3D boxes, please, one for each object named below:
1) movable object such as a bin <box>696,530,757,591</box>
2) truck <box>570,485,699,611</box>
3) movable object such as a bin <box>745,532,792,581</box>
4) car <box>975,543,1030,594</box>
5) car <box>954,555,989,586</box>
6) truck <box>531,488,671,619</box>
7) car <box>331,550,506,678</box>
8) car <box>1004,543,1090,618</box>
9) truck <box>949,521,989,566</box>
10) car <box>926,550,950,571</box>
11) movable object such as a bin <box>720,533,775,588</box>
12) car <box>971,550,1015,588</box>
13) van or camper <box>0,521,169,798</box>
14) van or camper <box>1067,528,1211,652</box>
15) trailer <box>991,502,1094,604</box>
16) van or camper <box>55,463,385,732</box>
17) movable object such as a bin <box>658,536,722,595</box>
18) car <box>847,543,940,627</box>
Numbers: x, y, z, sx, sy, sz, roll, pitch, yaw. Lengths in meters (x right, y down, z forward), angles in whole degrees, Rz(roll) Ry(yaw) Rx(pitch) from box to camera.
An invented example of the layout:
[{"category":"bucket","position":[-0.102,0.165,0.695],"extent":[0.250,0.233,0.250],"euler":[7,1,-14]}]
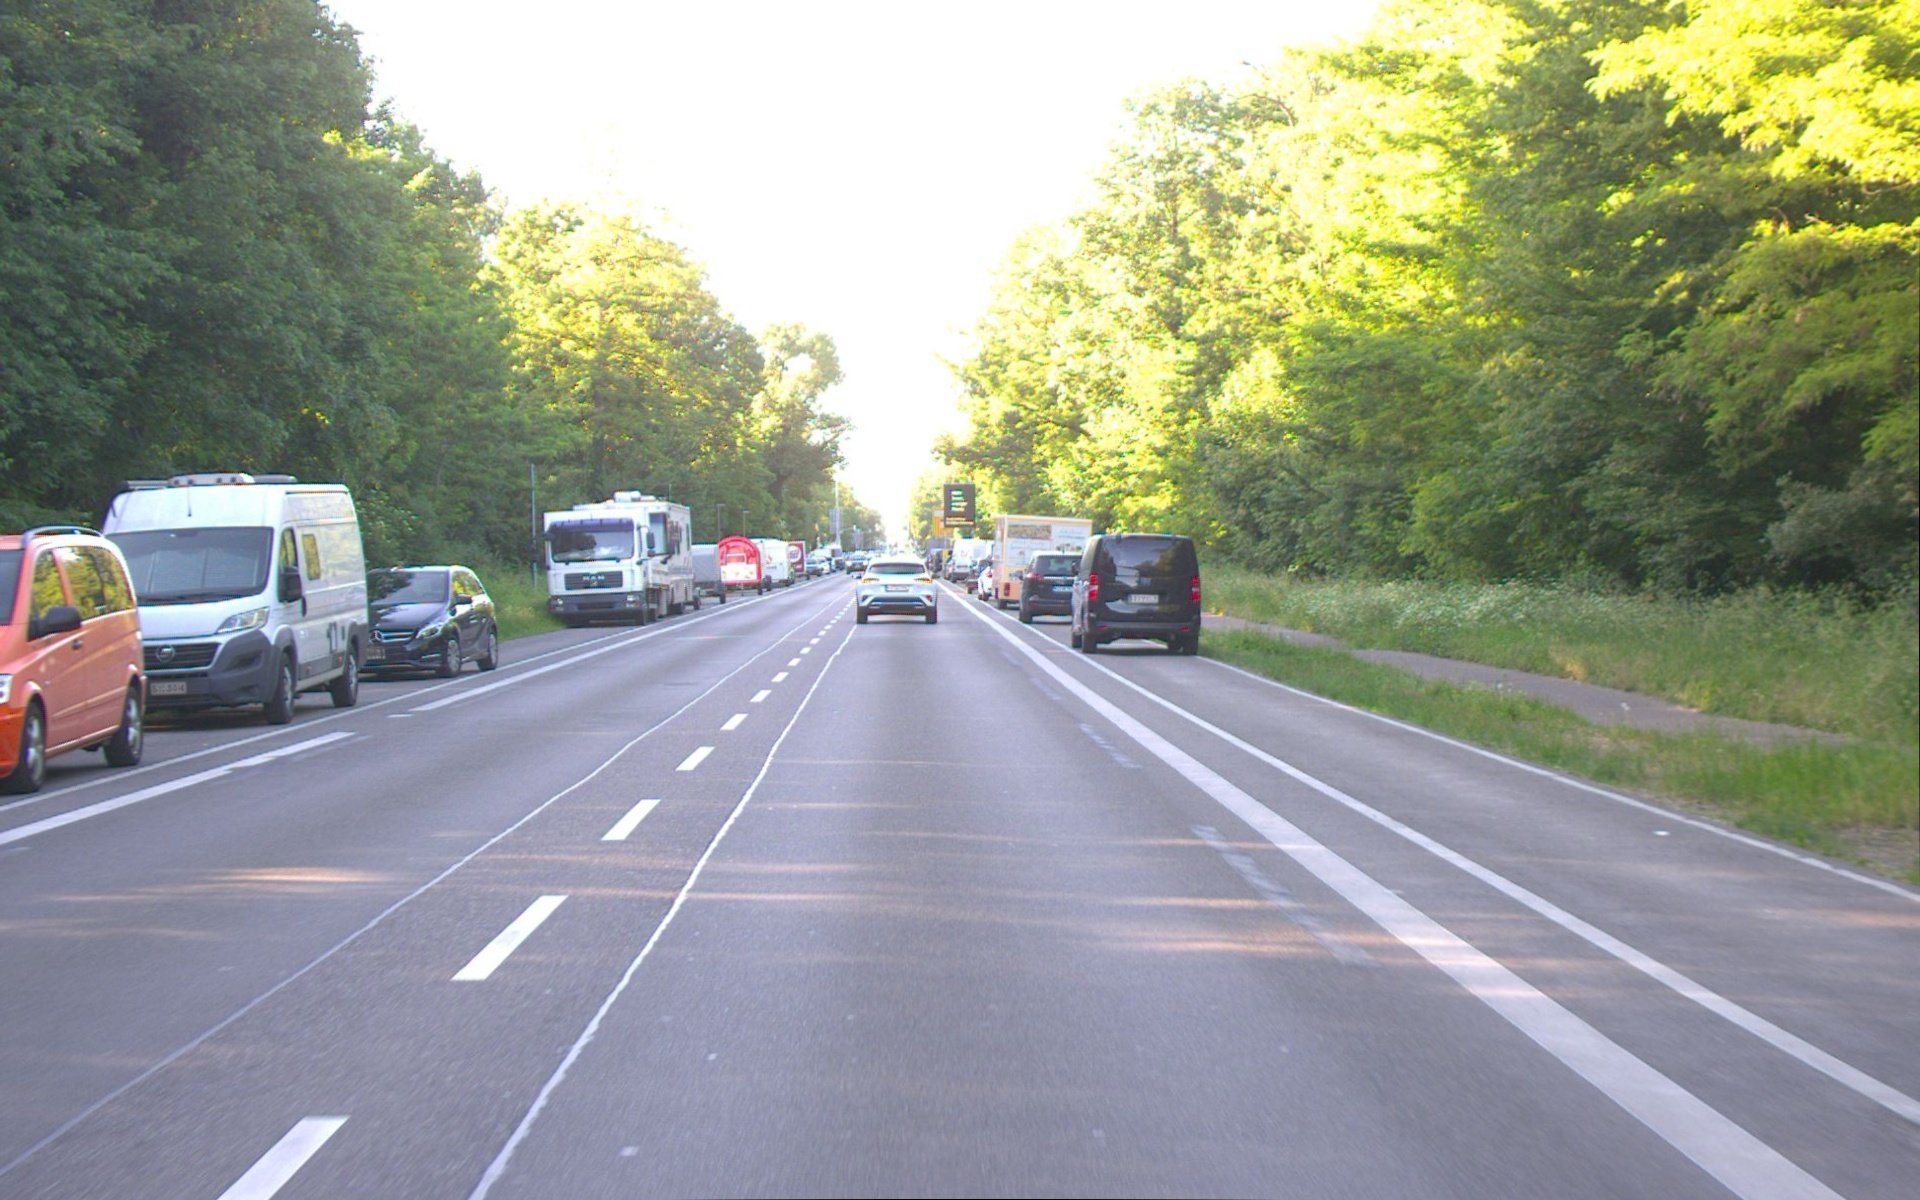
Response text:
[{"category":"movable object such as a bin","position":[-9.793,-1.677,144.335],"extent":[2.322,2.493,4.000],"euler":[0,1,-1]},{"category":"truck","position":[-9.023,-1.465,96.465],"extent":[2.707,3.336,10.924],"euler":[0,1,-1]},{"category":"movable object such as a bin","position":[-10.095,-2.300,181.277],"extent":[2.322,2.493,4.000],"euler":[0,1,-1]},{"category":"car","position":[1.438,-1.081,117.122],"extent":[1.732,1.678,4.000],"euler":[0,1,-1]},{"category":"car","position":[0.546,-1.433,168.116],"extent":[1.656,1.473,3.754],"euler":[0,1,-1]},{"category":"truck","position":[-8.829,-1.157,85.269],"extent":[2.707,3.083,7.989],"euler":[0,1,-1]},{"category":"car","position":[-7.620,0.155,48.708],"extent":[1.781,1.678,4.378],"euler":[-2,1,-1]},{"category":"car","position":[1.976,-0.467,78.999],"extent":[1.841,1.656,4.000],"euler":[0,1,0]},{"category":"truck","position":[0.481,-3.139,191.959],"extent":[2.096,2.444,5.680],"euler":[0,1,-1]},{"category":"car","position":[-1.581,-2.821,245.239],"extent":[1.656,1.473,3.754],"euler":[0,1,-1]},{"category":"movable object such as a bin","position":[-9.794,-1.853,158.762],"extent":[2.322,2.493,4.000],"euler":[0,1,-1]},{"category":"car","position":[1.309,-1.246,137.269],"extent":[1.656,1.473,3.754],"euler":[0,1,-1]},{"category":"van or camper","position":[-7.417,0.396,25.586],"extent":[1.923,1.860,4.863],"euler":[-2,1,-1]},{"category":"van or camper","position":[2.885,-0.197,56.339],"extent":[1.993,1.925,5.199],"euler":[1,1,-1]},{"category":"trailer","position":[2.376,-1.389,101.121],"extent":[2.757,2.860,6.589],"euler":[0,1,-1]},{"category":"van or camper","position":[-7.723,-0.076,36.601],"extent":[2.120,2.563,6.542],"euler":[-1,1,-1]},{"category":"movable object such as a bin","position":[-9.407,-1.229,119.889],"extent":[1.953,2.007,4.000],"euler":[0,1,-1]},{"category":"car","position":[-1.497,-0.362,78.422],"extent":[2.028,1.834,4.029],"euler":[-1,1,-1]}]
